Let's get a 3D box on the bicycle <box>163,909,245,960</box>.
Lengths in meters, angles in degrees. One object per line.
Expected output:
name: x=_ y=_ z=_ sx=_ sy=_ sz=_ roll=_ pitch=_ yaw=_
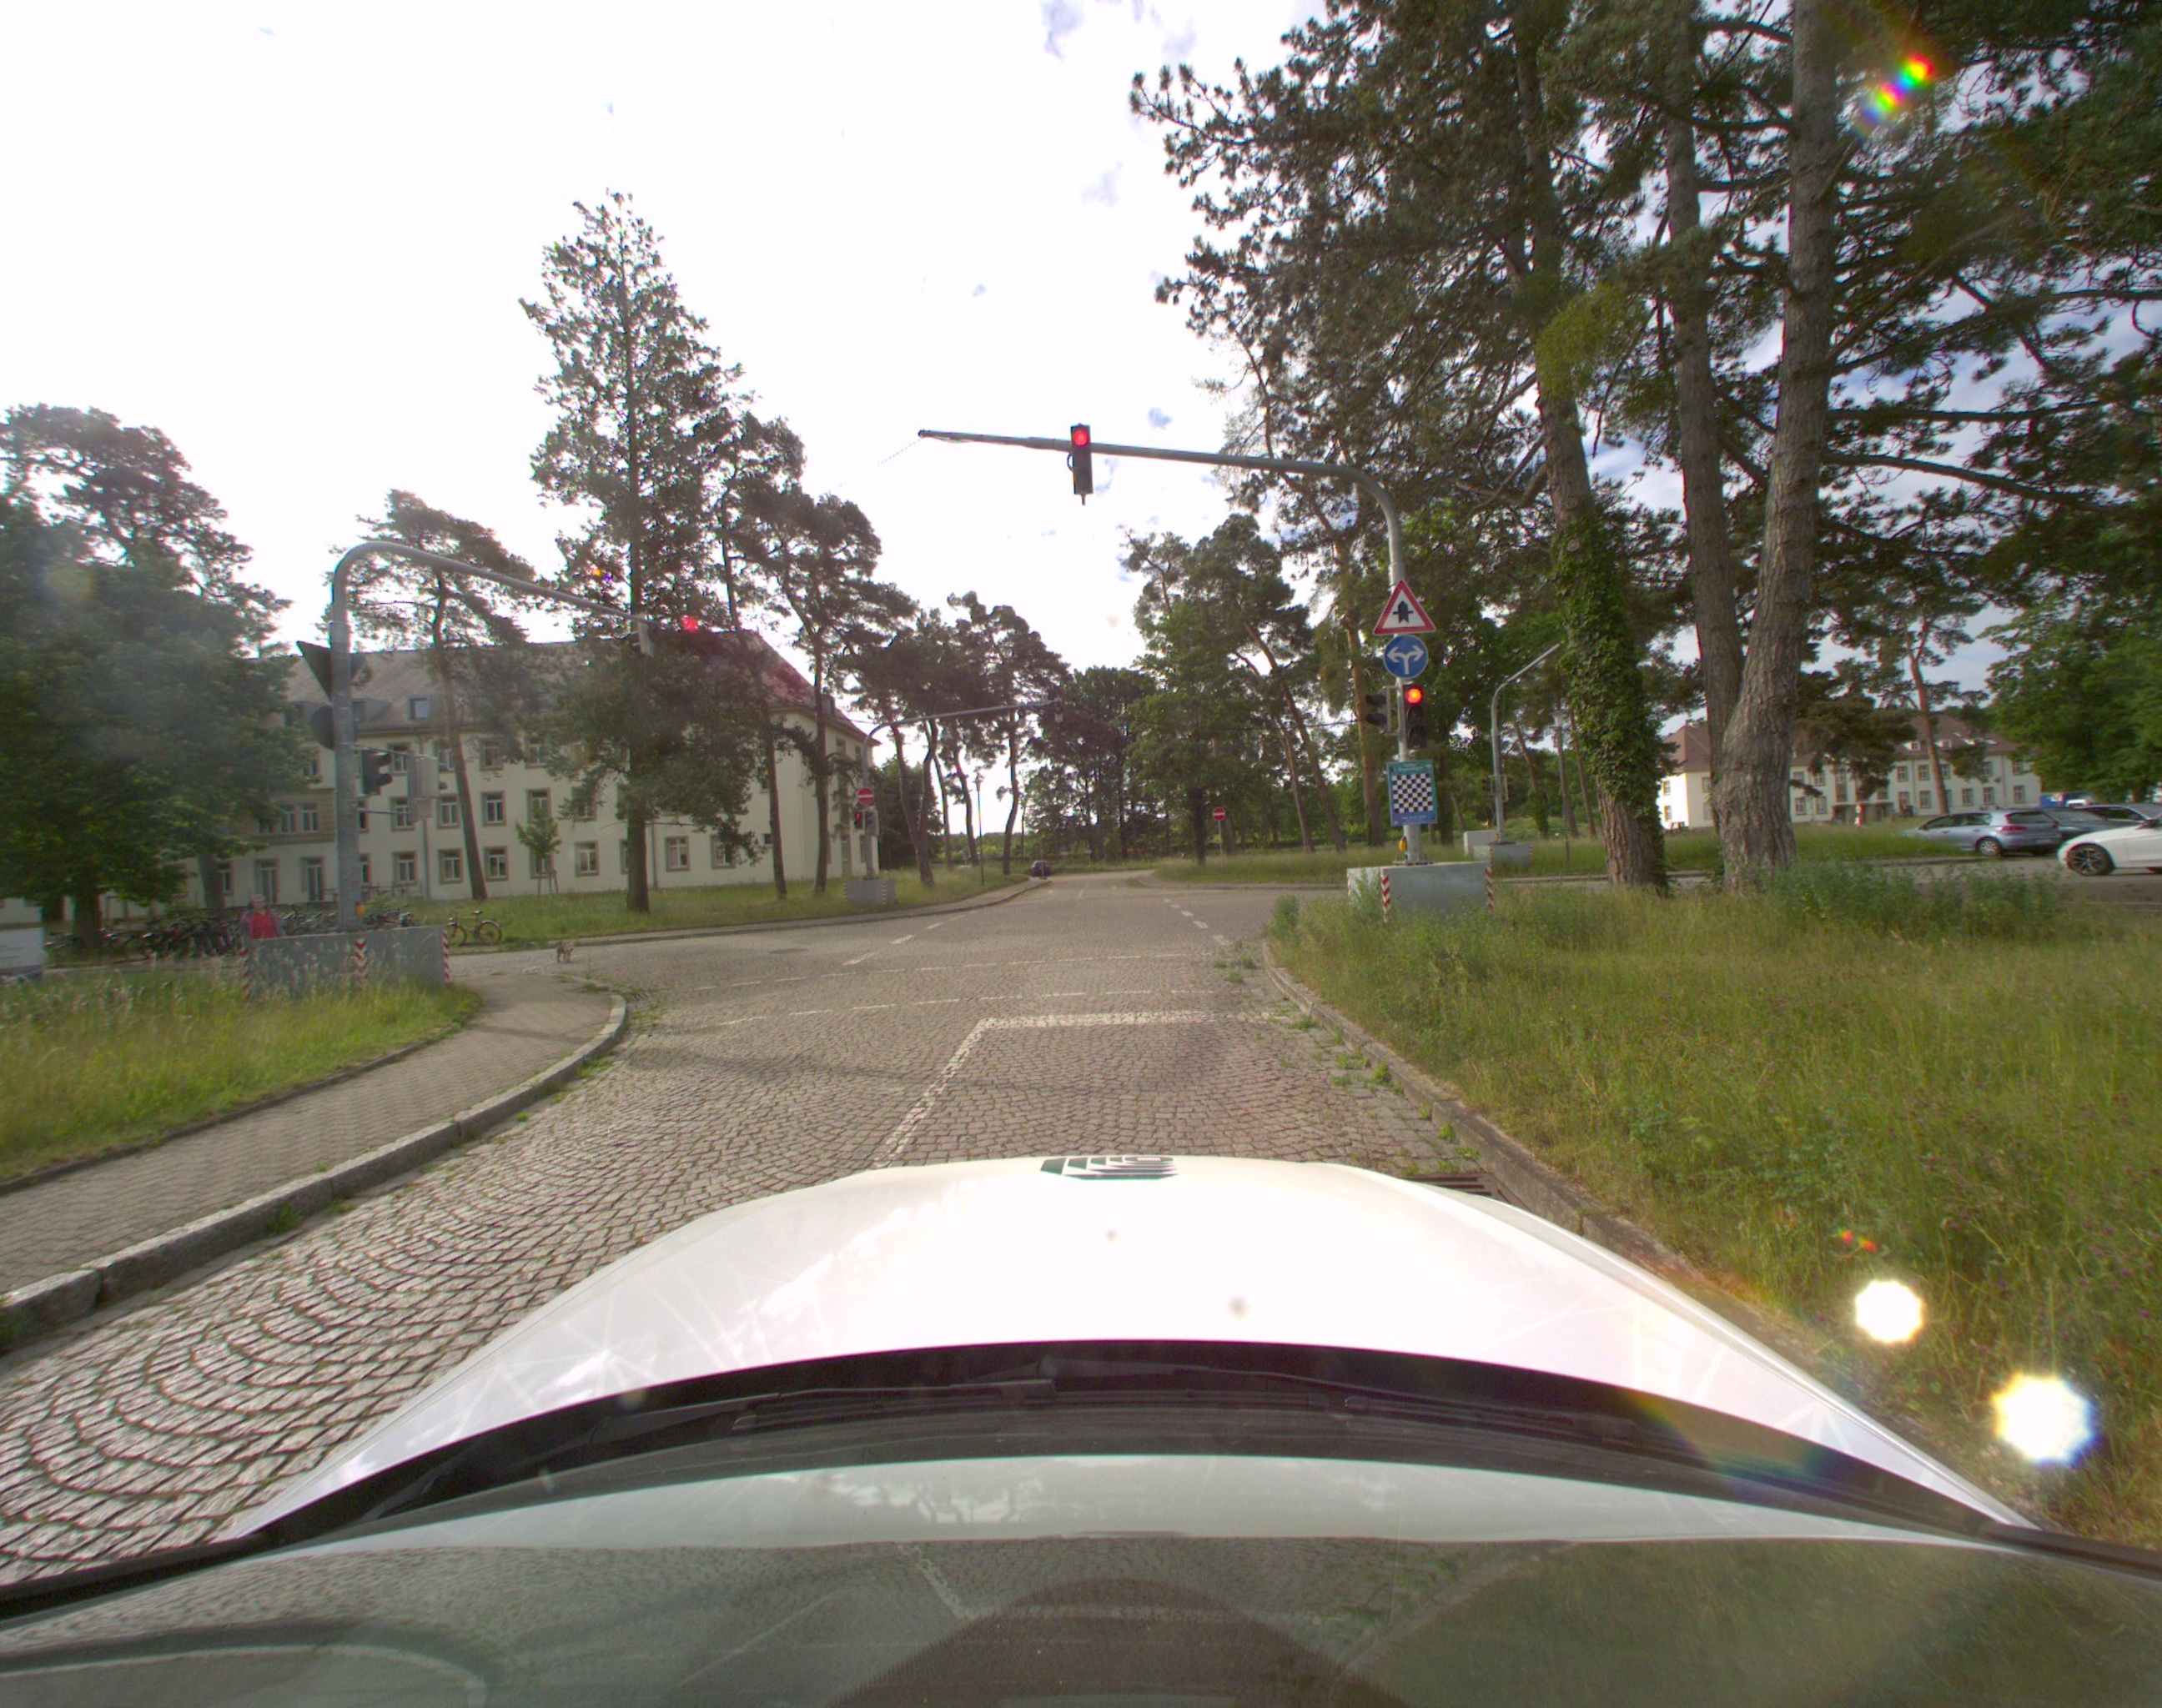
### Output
bicycle: x=-24.946 y=2.270 z=23.202 sx=0.447 sy=1.283 sz=1.695 roll=-3 pitch=0 yaw=0

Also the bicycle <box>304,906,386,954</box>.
bicycle: x=-20.989 y=2.135 z=23.275 sx=0.526 sy=1.178 sz=1.930 roll=-3 pitch=0 yaw=0

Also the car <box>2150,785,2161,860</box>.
car: x=23.950 y=-0.731 z=15.279 sx=1.861 sy=1.577 sz=4.444 roll=-3 pitch=0 yaw=-2

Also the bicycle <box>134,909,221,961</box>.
bicycle: x=-25.898 y=2.306 z=23.396 sx=0.441 sy=1.283 sz=1.785 roll=-3 pitch=0 yaw=0

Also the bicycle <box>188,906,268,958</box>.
bicycle: x=-24.284 y=2.195 z=23.224 sx=0.447 sy=1.283 sz=1.695 roll=-3 pitch=0 yaw=0

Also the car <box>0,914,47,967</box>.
car: x=-34.242 y=2.768 z=24.239 sx=1.832 sy=1.556 sz=3.899 roll=-3 pitch=0 yaw=2

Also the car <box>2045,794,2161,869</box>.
car: x=21.376 y=-0.481 z=15.039 sx=1.748 sy=1.415 sz=4.444 roll=-3 pitch=-1 yaw=-2

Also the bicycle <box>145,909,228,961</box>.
bicycle: x=-25.432 y=2.287 z=23.194 sx=0.447 sy=1.283 sz=1.695 roll=-3 pitch=0 yaw=0

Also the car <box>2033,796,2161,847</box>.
car: x=33.966 y=-1.051 z=26.039 sx=1.748 sy=1.524 sz=4.444 roll=-3 pitch=0 yaw=-2

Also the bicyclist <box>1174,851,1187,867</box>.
bicyclist: x=9.454 y=0.463 z=77.486 sx=0.972 sy=1.510 sz=0.807 roll=-3 pitch=0 yaw=-2

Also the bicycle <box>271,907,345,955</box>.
bicycle: x=-21.988 y=2.168 z=23.206 sx=0.447 sy=1.178 sz=1.695 roll=-3 pitch=0 yaw=0

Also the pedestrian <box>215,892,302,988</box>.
pedestrian: x=-15.402 y=1.586 z=15.259 sx=0.851 sy=1.668 sz=0.946 roll=-4 pitch=0 yaw=34

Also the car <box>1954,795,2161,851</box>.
car: x=31.317 y=-0.924 z=26.116 sx=1.748 sy=1.524 sz=4.443 roll=-3 pitch=0 yaw=-2

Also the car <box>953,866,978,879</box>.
car: x=-11.351 y=1.796 z=80.331 sx=1.682 sy=1.156 sz=4.003 roll=-3 pitch=0 yaw=3

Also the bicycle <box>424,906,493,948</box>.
bicycle: x=-16.687 y=1.948 z=21.847 sx=1.453 sy=0.996 sz=0.452 roll=-3 pitch=0 yaw=2

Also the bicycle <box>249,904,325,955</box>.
bicycle: x=-22.700 y=2.141 z=23.319 sx=0.447 sy=1.283 sz=1.695 roll=-3 pitch=0 yaw=0

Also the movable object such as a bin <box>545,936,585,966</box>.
movable object such as a bin: x=-10.489 y=1.959 z=16.555 sx=0.742 sy=0.503 sz=0.448 roll=-1 pitch=2 yaw=37

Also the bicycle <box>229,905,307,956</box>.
bicycle: x=-23.205 y=2.158 z=23.282 sx=0.447 sy=1.283 sz=1.695 roll=-3 pitch=0 yaw=0

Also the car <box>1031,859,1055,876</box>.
car: x=-3.645 y=1.302 z=78.969 sx=1.985 sy=1.508 sz=4.003 roll=-2 pitch=0 yaw=3

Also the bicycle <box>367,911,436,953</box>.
bicycle: x=-18.207 y=2.092 z=21.837 sx=1.453 sy=0.996 sz=0.452 roll=-3 pitch=0 yaw=2

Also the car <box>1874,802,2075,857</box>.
car: x=28.902 y=-0.733 z=26.585 sx=1.745 sy=1.524 sz=4.451 roll=-4 pitch=0 yaw=3

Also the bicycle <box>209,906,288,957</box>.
bicycle: x=-23.721 y=2.176 z=23.243 sx=0.447 sy=1.283 sz=1.695 roll=-3 pitch=0 yaw=0

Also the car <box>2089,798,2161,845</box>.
car: x=36.612 y=-1.144 z=26.598 sx=1.748 sy=1.524 sz=4.444 roll=-3 pitch=0 yaw=-2

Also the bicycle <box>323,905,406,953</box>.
bicycle: x=-20.406 y=2.114 z=23.244 sx=0.573 sy=1.178 sz=1.954 roll=-3 pitch=0 yaw=0

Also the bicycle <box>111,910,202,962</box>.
bicycle: x=-26.364 y=2.320 z=23.267 sx=0.447 sy=1.283 sz=1.827 roll=-3 pitch=0 yaw=0

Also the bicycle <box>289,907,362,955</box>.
bicycle: x=-21.502 y=2.164 z=23.223 sx=0.447 sy=1.178 sz=1.695 roll=-3 pitch=0 yaw=0

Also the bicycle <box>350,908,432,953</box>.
bicycle: x=-19.708 y=2.156 z=23.313 sx=0.573 sy=1.078 sz=1.996 roll=-3 pitch=0 yaw=0
